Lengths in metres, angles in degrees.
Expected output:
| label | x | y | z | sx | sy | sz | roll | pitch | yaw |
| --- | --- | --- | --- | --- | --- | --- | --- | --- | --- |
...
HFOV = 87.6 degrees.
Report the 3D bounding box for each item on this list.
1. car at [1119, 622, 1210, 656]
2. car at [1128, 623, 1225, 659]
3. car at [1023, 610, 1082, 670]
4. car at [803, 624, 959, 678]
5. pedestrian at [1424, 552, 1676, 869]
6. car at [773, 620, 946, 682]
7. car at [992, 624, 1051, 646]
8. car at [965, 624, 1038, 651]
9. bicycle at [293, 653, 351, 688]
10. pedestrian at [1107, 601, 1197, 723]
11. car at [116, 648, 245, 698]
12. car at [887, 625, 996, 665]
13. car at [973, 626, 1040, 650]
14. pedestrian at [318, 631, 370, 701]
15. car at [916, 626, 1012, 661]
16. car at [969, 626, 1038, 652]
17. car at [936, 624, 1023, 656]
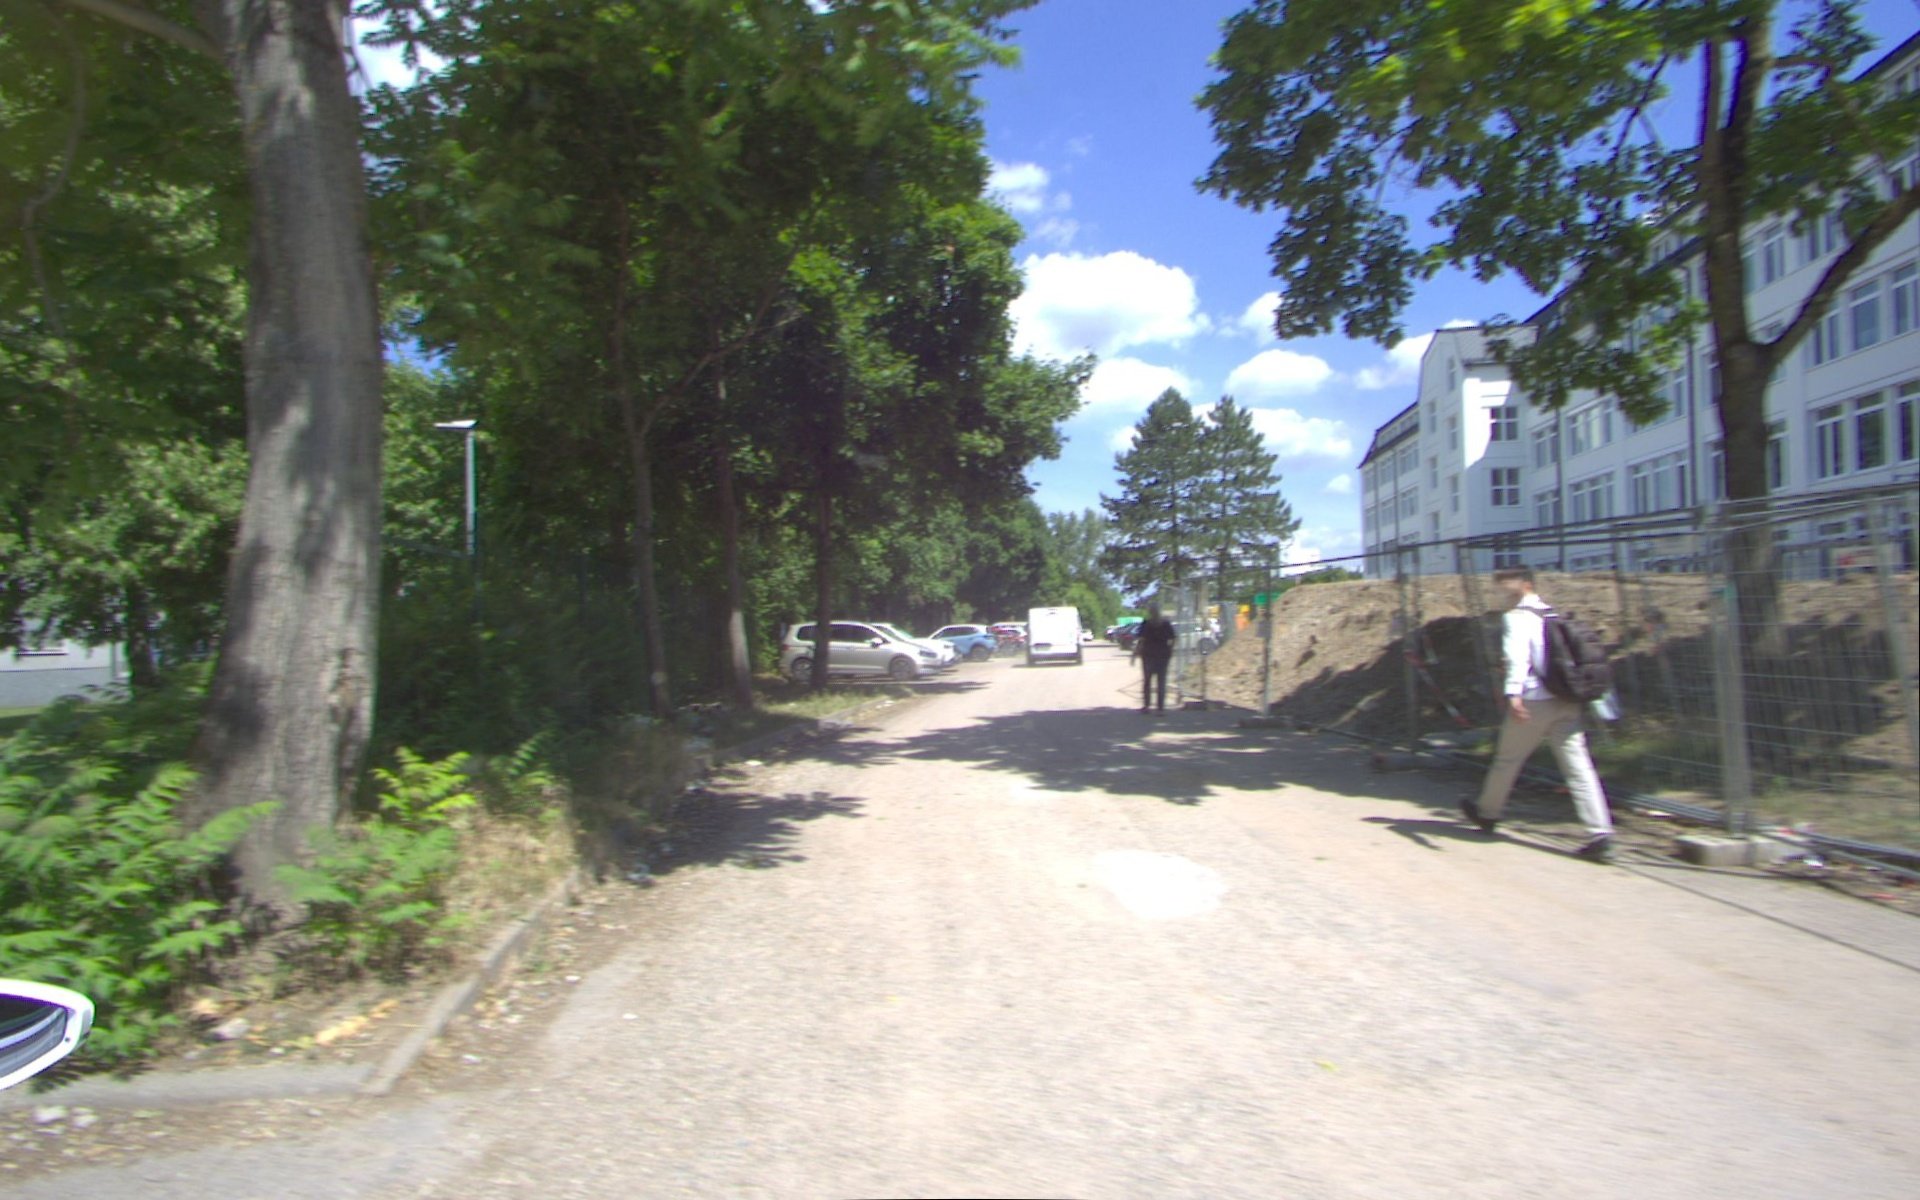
| label | x | y | z | sx | sy | sz | roll | pitch | yaw |
| --- | --- | --- | --- | --- | --- | --- | --- | --- | --- |
| car | 9.132 | 1.735 | 44.986 | 3.924 | 1.438 | 2.000 | -1 | -1 | 10 |
| car | 9.114 | 1.733 | 42.523 | 3.924 | 1.438 | 2.000 | -1 | -1 | 10 |
| car | 3.357 | 1.393 | 35.802 | 1.941 | 1.972 | 4.581 | -1 | -1 | 7 |
| car | -2.351 | 1.543 | 30.338 | 4.433 | 1.551 | 1.726 | -1 | -1 | 8 |
| pedestrian | 3.541 | 0.624 | 6.119 | 0.859 | 1.752 | 1.080 | -1 | 0 | -2 |
| car | -2.735 | 1.443 | 27.835 | 4.434 | 1.629 | 2.001 | -1 | -3 | 9 |
| car | 4.822 | 2.718 | 78.387 | 4.433 | 1.618 | 1.726 | -1 | -1 | 8 |
| car | 2.638 | 2.382 | 63.429 | 4.433 | 1.618 | 1.725 | -1 | -1 | 8 |
| bicycle | -21.828 | 2.400 | 34.300 | 0.590 | 1.098 | 1.940 | -1 | -1 | 6 |
| pedestrian | 2.741 | 0.867 | 14.416 | 1.018 | 1.671 | 1.049 | -1 | 0 | -4 |
| car | -28.586 | 2.654 | 36.860 | 1.641 | 1.641 | 3.629 | -1 | -1 | 8 |
| car | -0.752 | 1.897 | 42.833 | 4.433 | 1.618 | 1.725 | -1 | -1 | 8 |
| car | 3.179 | 2.578 | 68.575 | 4.433 | 1.567 | 1.725 | -1 | -1 | 8 |
| pedestrian | -14.240 | 1.516 | 23.168 | 0.727 | 1.584 | 0.750 | -1 | -1 | -2 |
| car | 0.234 | 2.086 | 48.542 | 4.434 | 1.618 | 1.936 | -1 | -1 | 8 |
| car | 2.882 | 2.544 | 66.136 | 4.433 | 1.618 | 1.725 | -1 | -1 | 8 |
| car | 1.068 | 2.152 | 53.576 | 4.433 | 1.618 | 1.725 | -1 | -1 | 8 |
